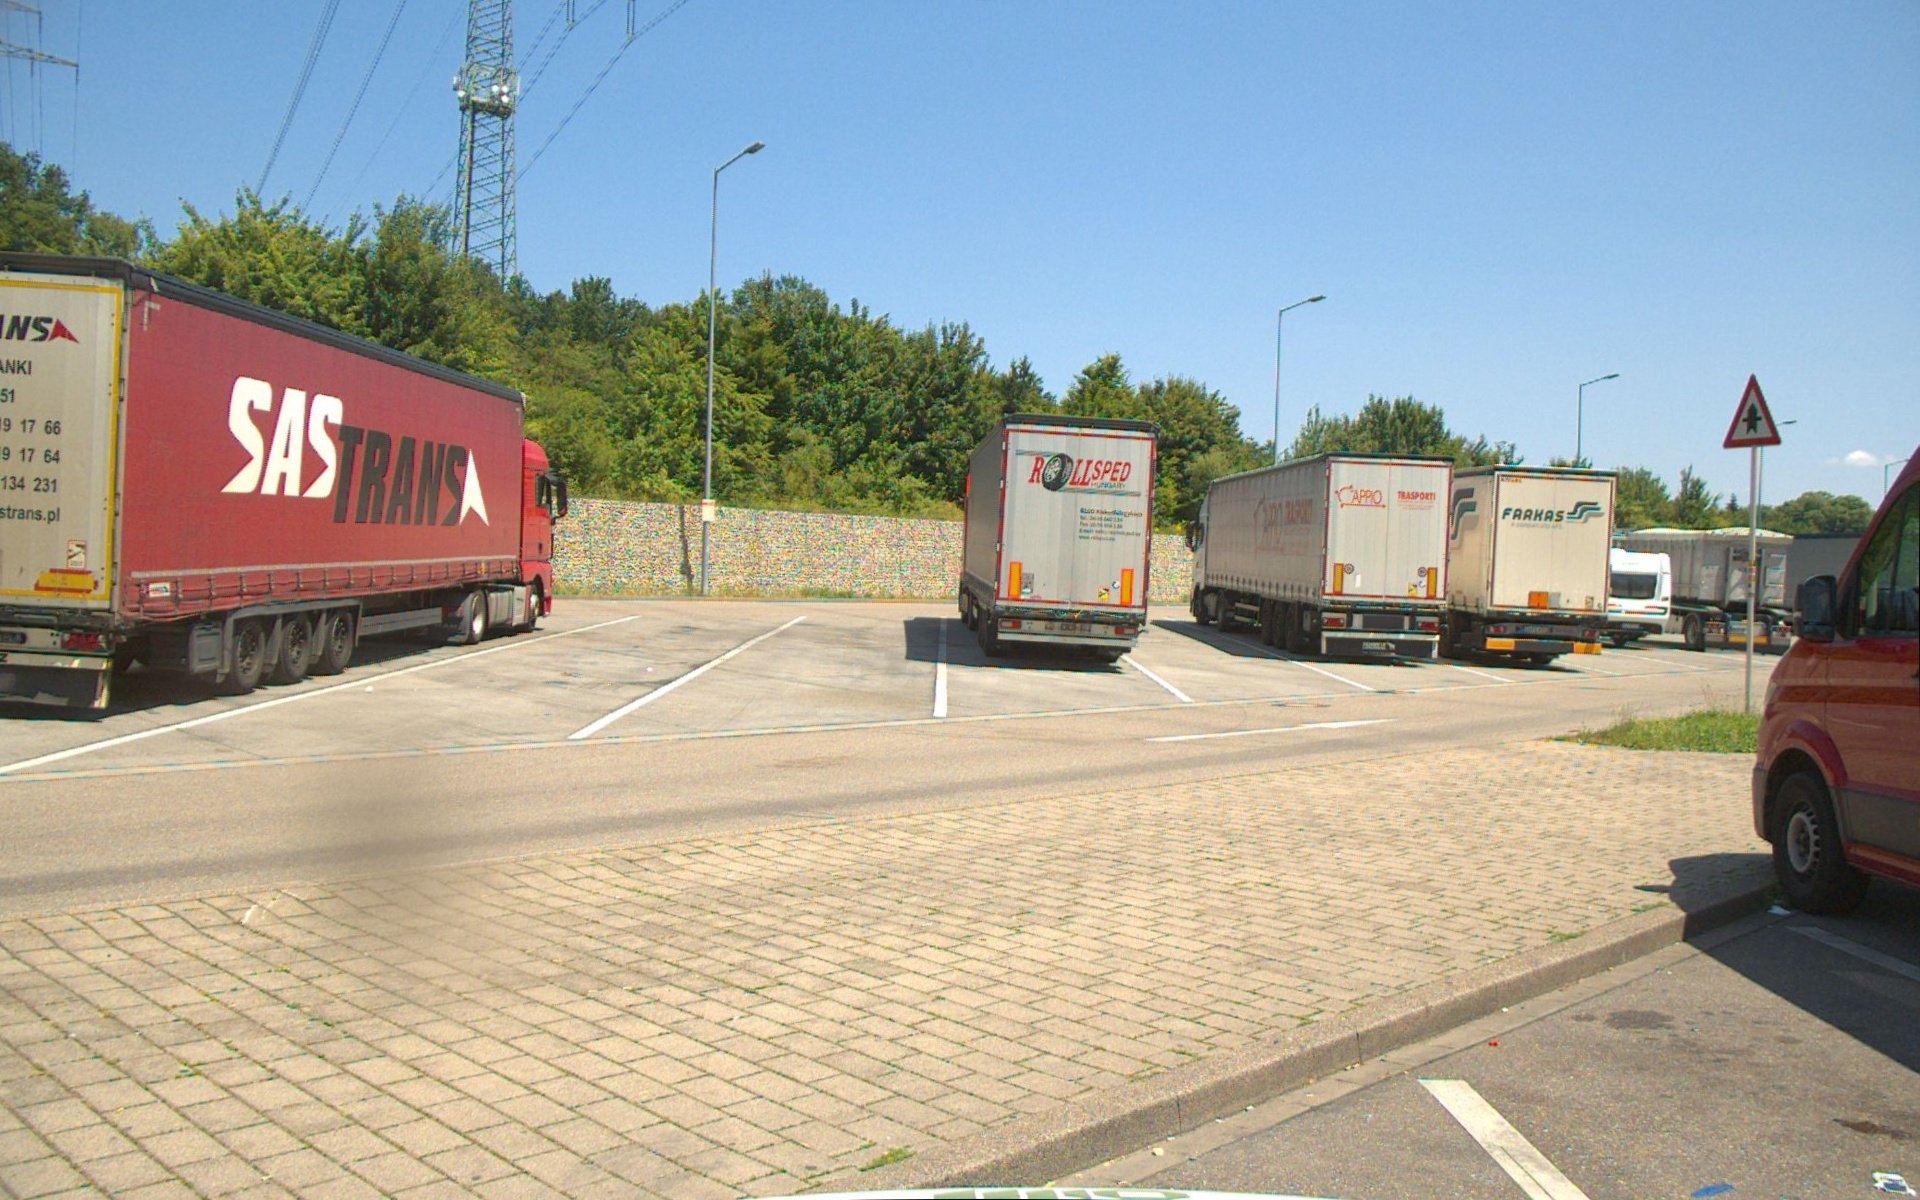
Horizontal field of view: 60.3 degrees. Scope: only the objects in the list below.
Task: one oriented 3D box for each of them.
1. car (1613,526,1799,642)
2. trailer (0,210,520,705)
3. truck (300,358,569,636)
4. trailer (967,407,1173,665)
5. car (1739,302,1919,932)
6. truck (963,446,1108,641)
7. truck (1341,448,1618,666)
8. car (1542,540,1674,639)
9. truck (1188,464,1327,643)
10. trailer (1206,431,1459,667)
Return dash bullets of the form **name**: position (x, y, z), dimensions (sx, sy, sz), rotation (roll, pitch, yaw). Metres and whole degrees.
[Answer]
- **car**: position (21.698, -0.497, 48.492), dimensions (2.448, 3.128, 6.350), rotation (1, 1, -1)
- **trailer**: position (-8.638, -1.371, 20.980), dimensions (2.743, 4.293, 13.200), rotation (1, 1, -1)
- **truck**: position (-8.725, -1.623, 28.234), dimensions (2.749, 4.205, 5.893), rotation (1, 1, -1)
- **trailer**: position (1.781, -1.128, 32.117), dimensions (2.839, 4.083, 11.313), rotation (1, 1, -2)
- **car**: position (4.996, 0.106, 5.589), dimensions (1.952, 2.679, 6.385), rotation (1, 1, 3)
- **truck**: position (1.597, -1.242, 37.775), dimensions (2.813, 4.050, 6.027), rotation (1, 1, -2)
- **truck**: position (11.715, -0.835, 38.874), dimensions (2.534, 4.299, 11.967), rotation (1, 0, -1)
- **car**: position (18.233, -0.269, 46.734), dimensions (2.072, 2.645, 3.999), rotation (1, 0, -1)
- **truck**: position (8.022, -1.249, 45.253), dimensions (2.607, 4.530, 5.863), rotation (1, 1, -1)
- **trailer**: position (8.171, -1.101, 38.420), dimensions (2.627, 4.530, 12.826), rotation (1, 1, -1)
